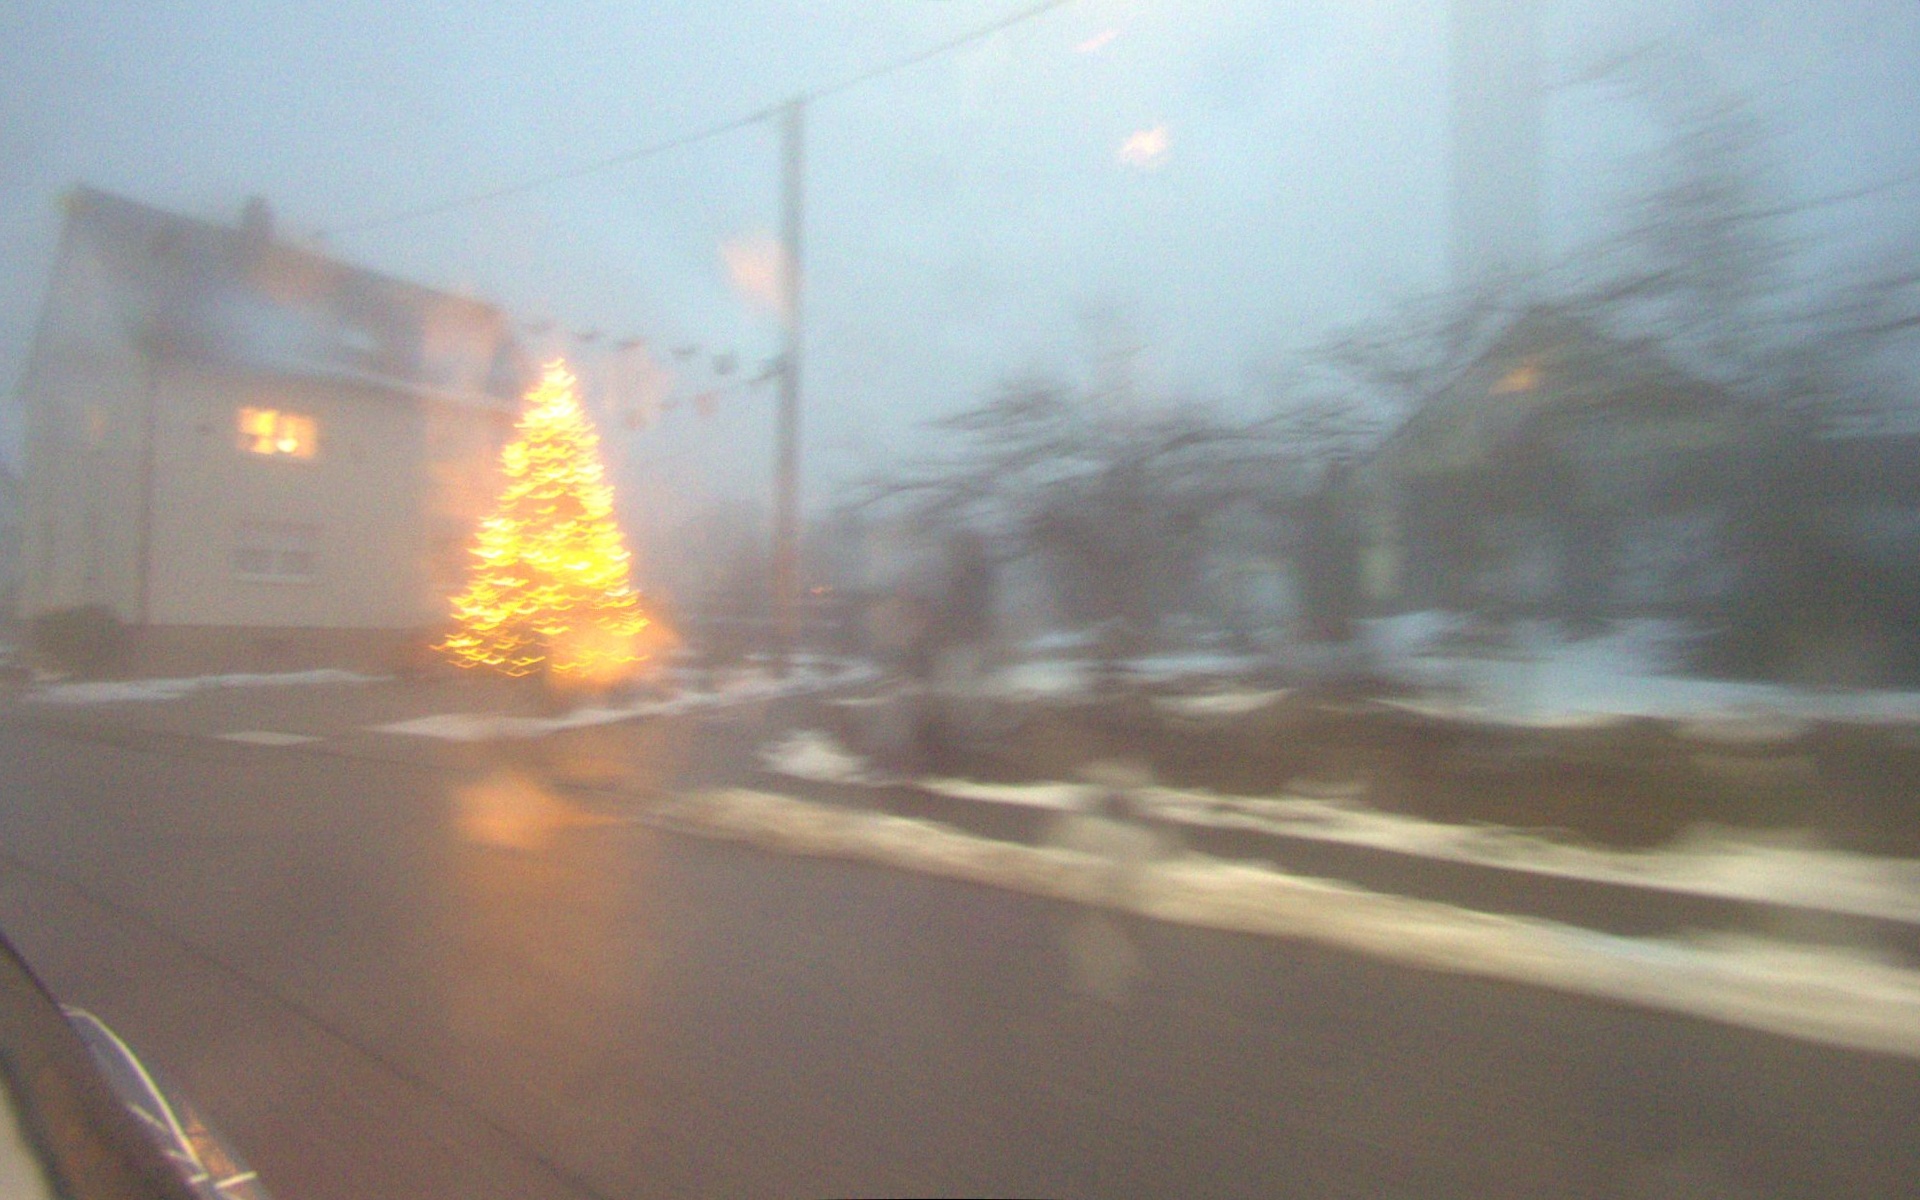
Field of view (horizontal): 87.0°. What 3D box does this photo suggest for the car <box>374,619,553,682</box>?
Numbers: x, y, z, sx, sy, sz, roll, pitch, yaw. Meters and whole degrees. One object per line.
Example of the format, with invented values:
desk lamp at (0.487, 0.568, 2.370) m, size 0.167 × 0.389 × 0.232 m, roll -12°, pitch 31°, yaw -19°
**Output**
car at (-12.284, 1.203, 25.235) m, size 1.622 × 1.383 × 3.744 m, roll -1°, pitch -1°, yaw 34°
